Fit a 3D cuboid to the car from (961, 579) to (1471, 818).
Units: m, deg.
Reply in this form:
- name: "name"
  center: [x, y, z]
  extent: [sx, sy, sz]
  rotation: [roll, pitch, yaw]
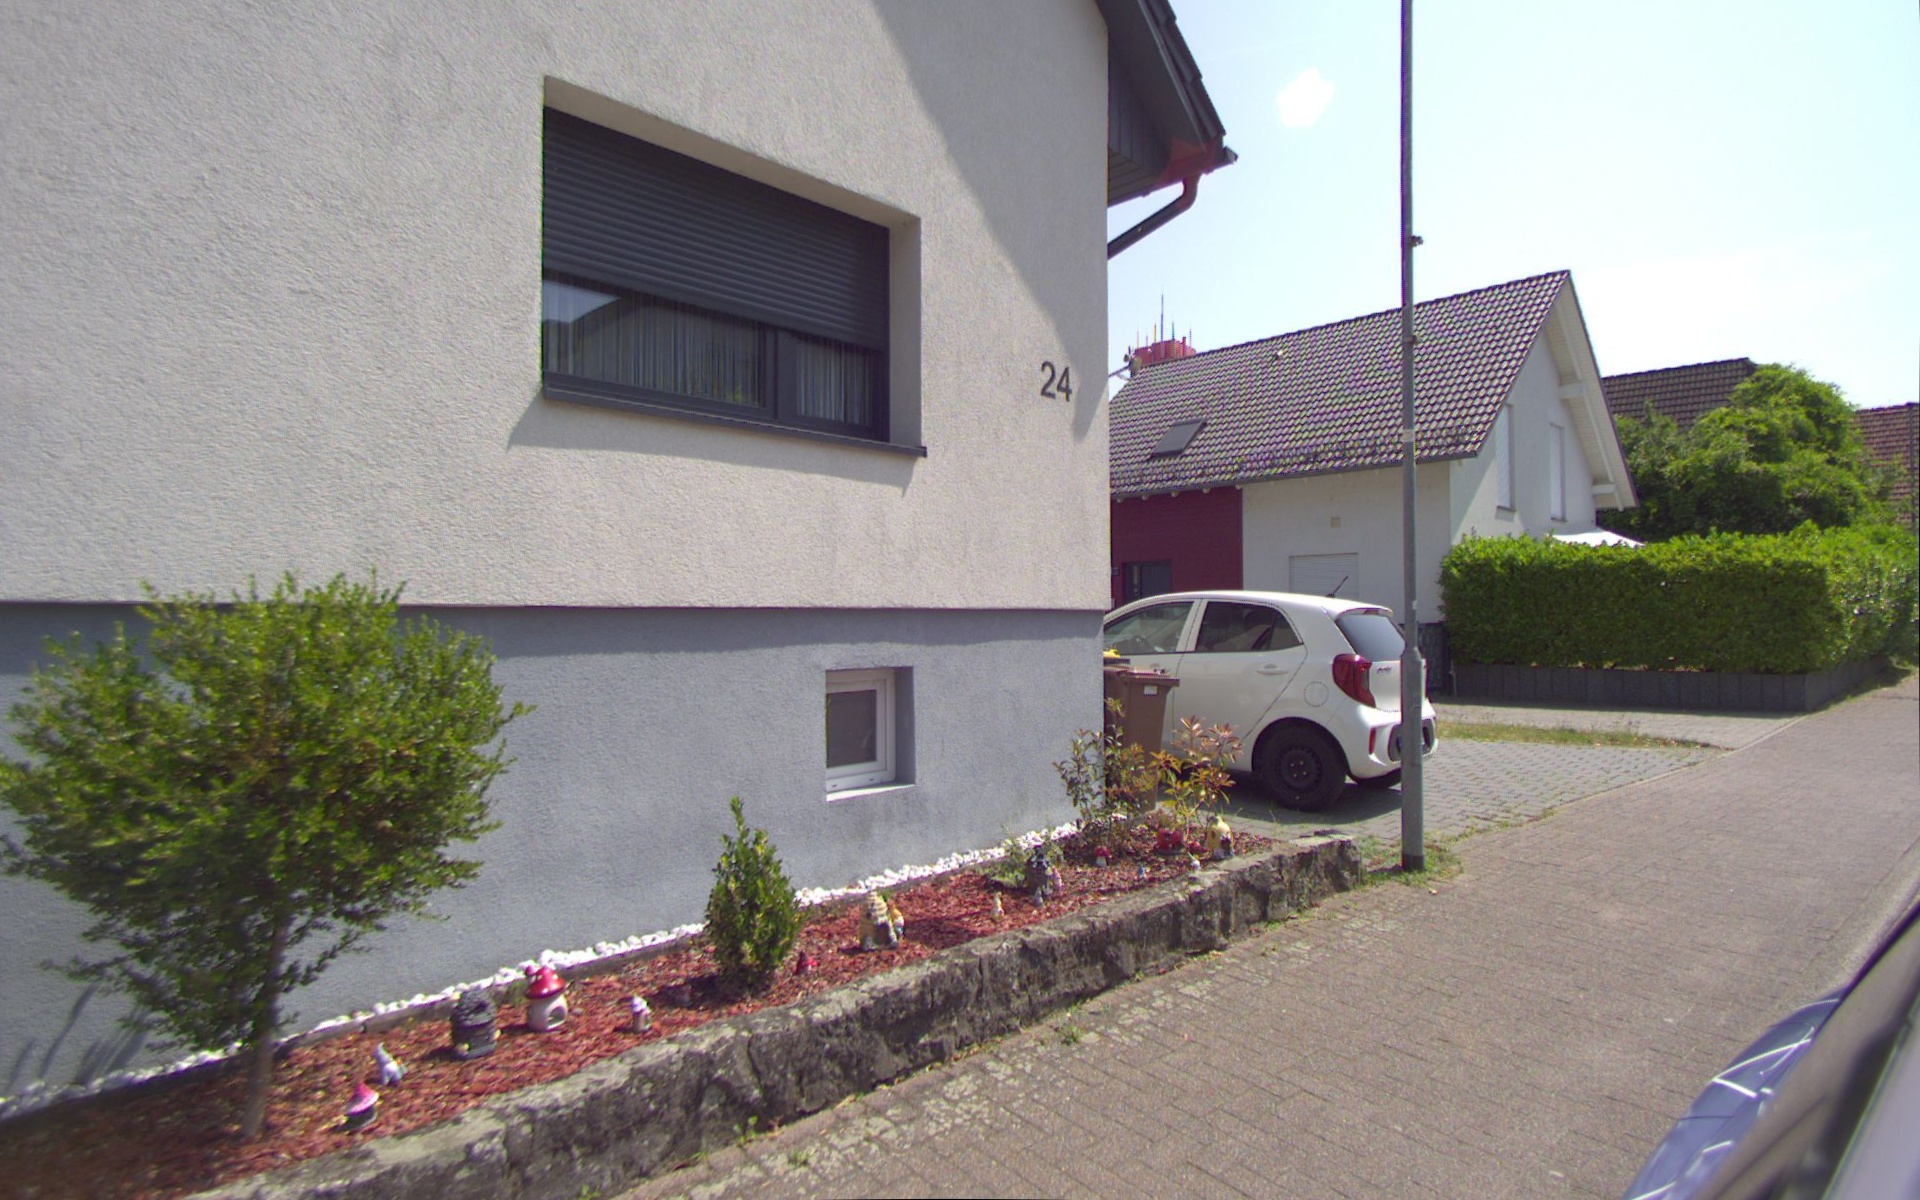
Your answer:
- name: "car"
  center: [1.935, 0.604, 8.261]
  extent: [3.657, 1.493, 1.737]
  rotation: [1, 0, 44]
